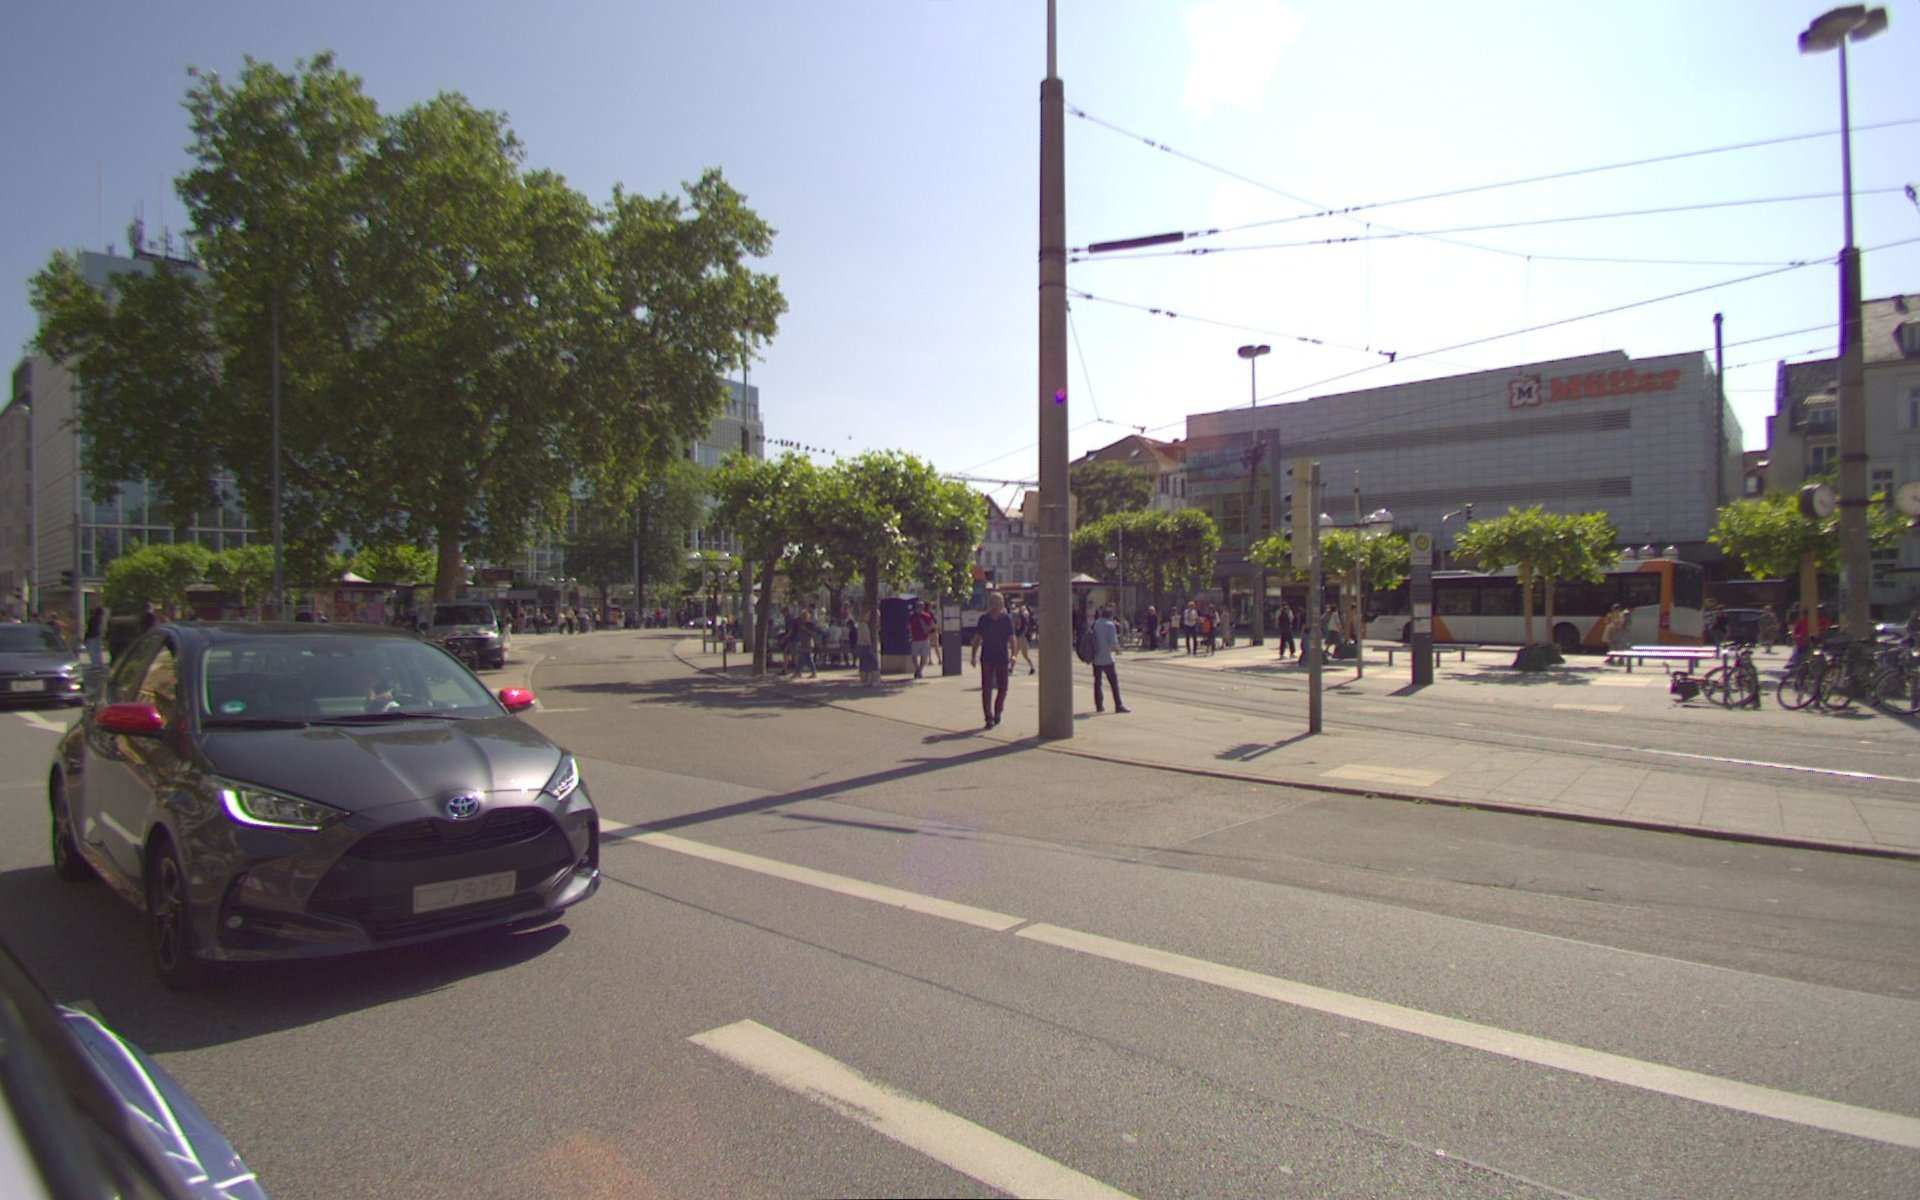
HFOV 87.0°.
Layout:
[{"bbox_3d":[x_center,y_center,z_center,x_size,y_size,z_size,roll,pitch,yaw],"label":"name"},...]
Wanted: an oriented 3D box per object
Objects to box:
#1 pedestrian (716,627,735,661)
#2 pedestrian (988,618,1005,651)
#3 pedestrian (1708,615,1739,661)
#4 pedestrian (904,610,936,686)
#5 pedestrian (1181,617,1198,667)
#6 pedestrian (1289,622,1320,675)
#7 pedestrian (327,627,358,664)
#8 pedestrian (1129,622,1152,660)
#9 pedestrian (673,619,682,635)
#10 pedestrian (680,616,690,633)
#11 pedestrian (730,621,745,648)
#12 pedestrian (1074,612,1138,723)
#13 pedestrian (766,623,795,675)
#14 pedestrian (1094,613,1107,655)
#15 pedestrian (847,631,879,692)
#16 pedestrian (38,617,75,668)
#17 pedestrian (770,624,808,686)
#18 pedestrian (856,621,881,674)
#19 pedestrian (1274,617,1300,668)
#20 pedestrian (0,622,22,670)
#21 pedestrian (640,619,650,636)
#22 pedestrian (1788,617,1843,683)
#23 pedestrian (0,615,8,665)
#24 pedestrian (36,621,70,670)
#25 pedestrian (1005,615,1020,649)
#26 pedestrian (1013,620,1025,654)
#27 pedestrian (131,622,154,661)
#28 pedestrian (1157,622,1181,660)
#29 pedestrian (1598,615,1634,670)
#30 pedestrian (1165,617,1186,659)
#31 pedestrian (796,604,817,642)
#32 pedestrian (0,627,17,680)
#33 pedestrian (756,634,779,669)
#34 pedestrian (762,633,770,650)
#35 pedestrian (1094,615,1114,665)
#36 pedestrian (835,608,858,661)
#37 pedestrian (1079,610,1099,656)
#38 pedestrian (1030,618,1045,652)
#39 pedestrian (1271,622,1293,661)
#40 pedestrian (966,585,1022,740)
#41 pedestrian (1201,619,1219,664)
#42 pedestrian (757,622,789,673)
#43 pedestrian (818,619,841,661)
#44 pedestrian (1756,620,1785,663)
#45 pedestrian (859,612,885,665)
[{"bbox_3d":[-8.840,1.653,38.114,0.483,1.262,0.491,-2,0,39],"label":"pedestrian"},{"bbox_3d":[1.746,1.680,48.552,0.568,1.561,0.682,2,-4,-22],"label":"pedestrian"},{"bbox_3d":[24.532,1.228,32.535,0.680,1.477,0.616,-3,-5,44],"label":"pedestrian"},{"bbox_3d":[-0.940,1.136,23.762,0.614,1.759,0.682,1,-4,-15],"label":"pedestrian"},{"bbox_3d":[7.767,1.416,34.267,0.518,1.678,0.469,-1,-4,19],"label":"pedestrian"},{"bbox_3d":[9.336,1.317,27.426,0.617,1.429,0.680,0,-4,3],"label":"pedestrian"},{"bbox_3d":[-21.282,1.560,34.880,0.614,1.251,0.664,-2,0,34],"label":"pedestrian"},{"bbox_3d":[7.210,1.640,40.439,0.615,1.477,0.681,4,-5,-43],"label":"pedestrian"},{"bbox_3d":[-26.692,2.521,95.624,0.745,1.483,0.557,-2,0,-22],"label":"pedestrian"},{"bbox_3d":[-24.963,2.191,91.969,0.745,1.483,0.557,-2,0,-22],"label":"pedestrian"},{"bbox_3d":[-12.486,1.941,56.765,0.547,1.483,0.533,-2,0,-42],"label":"pedestrian"},{"bbox_3d":[2.295,1.033,15.839,0.678,1.671,0.885,-2,-2,32],"label":"pedestrian"},{"bbox_3d":[-5.155,1.413,28.987,0.614,1.477,0.682,2,-4,-28],"label":"pedestrian"},{"bbox_3d":[5.816,1.413,41.851,0.462,1.731,0.555,-1,-4,19],"label":"pedestrian"},{"bbox_3d":[-2.032,1.279,21.204,0.568,1.243,0.555,0,-1,-15],"label":"pedestrian"},{"bbox_3d":[-31.922,1.496,35.759,0.882,1.760,0.715,-2,0,31],"label":"pedestrian"},{"bbox_3d":[-4.131,1.337,24.456,0.680,1.477,0.616,-3,-5,41],"label":"pedestrian"},{"bbox_3d":[-2.595,1.329,28.640,0.670,1.476,0.625,0,-1,-3],"label":"pedestrian"},{"bbox_3d":[10.156,1.320,31.412,0.530,1.565,0.592,-3,-5,44],"label":"pedestrian"},{"bbox_3d":[-35.927,1.720,38.040,0.732,1.760,0.865,-2,0,39],"label":"pedestrian"},{"bbox_3d":[-27.532,2.412,88.549,0.745,1.483,0.557,-2,0,-22],"label":"pedestrian"},{"bbox_3d":[19.591,1.147,23.180,0.617,1.477,0.680,0,-4,3],"label":"pedestrian"},{"bbox_3d":[-33.914,1.419,35.519,0.732,1.760,0.631,-2,0,39],"label":"pedestrian"},{"bbox_3d":[-34.077,1.707,38.035,0.731,1.760,0.743,-2,0,31],"label":"pedestrian"},{"bbox_3d":[2.468,1.513,47.440,0.573,1.561,0.677,-1,-4,14],"label":"pedestrian"},{"bbox_3d":[2.693,1.693,46.093,0.448,1.561,0.474,-1,-4,14],"label":"pedestrian"},{"bbox_3d":[-36.117,1.829,44.728,0.721,1.682,0.641,-2,0,-36],"label":"pedestrian"},{"bbox_3d":[8.223,1.608,39.788,0.615,1.477,0.681,4,-5,-43],"label":"pedestrian"},{"bbox_3d":[17.671,1.153,27.253,0.670,1.477,0.625,4,-5,-43],"label":"pedestrian"},{"bbox_3d":[7.840,1.402,36.839,0.675,1.513,0.621,-1,-4,19],"label":"pedestrian"},{"bbox_3d":[-6.493,0.986,42.830,0.669,1.561,0.580,2,-4,-28],"label":"pedestrian"},{"bbox_3d":[-31.662,1.766,33.471,0.651,1.726,0.568,-2,0,39],"label":"pedestrian"},{"bbox_3d":[-6.890,1.835,36.263,0.552,1.243,0.572,-2,-4,29],"label":"pedestrian"},{"bbox_3d":[-10.854,2.324,56.613,0.333,0.970,0.328,-2,0,22],"label":"pedestrian"},{"bbox_3d":[5.038,1.414,35.397,0.584,1.744,0.557,-1,-4,19],"label":"pedestrian"},{"bbox_3d":[-3.851,1.175,34.340,0.568,1.791,0.682,2,-4,-28],"label":"pedestrian"},{"bbox_3d":[5.164,1.309,40.414,0.675,1.809,0.621,-1,-4,19],"label":"pedestrian"},{"bbox_3d":[3.577,1.635,46.845,0.573,1.561,0.677,-1,-4,14],"label":"pedestrian"},{"bbox_3d":[12.308,1.606,38.700,0.672,1.477,0.623,0,-4,7],"label":"pedestrian"},{"bbox_3d":[0.445,0.839,13.677,0.670,2.023,0.895,0,-3,-3],"label":"pedestrian"},{"bbox_3d":[8.397,1.400,33.965,0.549,1.477,0.621,-1,-4,19],"label":"pedestrian"},{"bbox_3d":[-5.460,1.388,29.489,0.716,1.477,0.682,2,-4,-28],"label":"pedestrian"},{"bbox_3d":[-4.948,1.525,38.431,0.657,1.561,0.565,-3,-5,43],"label":"pedestrian"},{"bbox_3d":[28.024,1.437,34.982,0.680,1.477,0.616,-3,-5,44],"label":"pedestrian"},{"bbox_3d":[-3.037,1.342,34.976,0.578,1.791,0.670,-3,-5,44],"label":"pedestrian"}]
